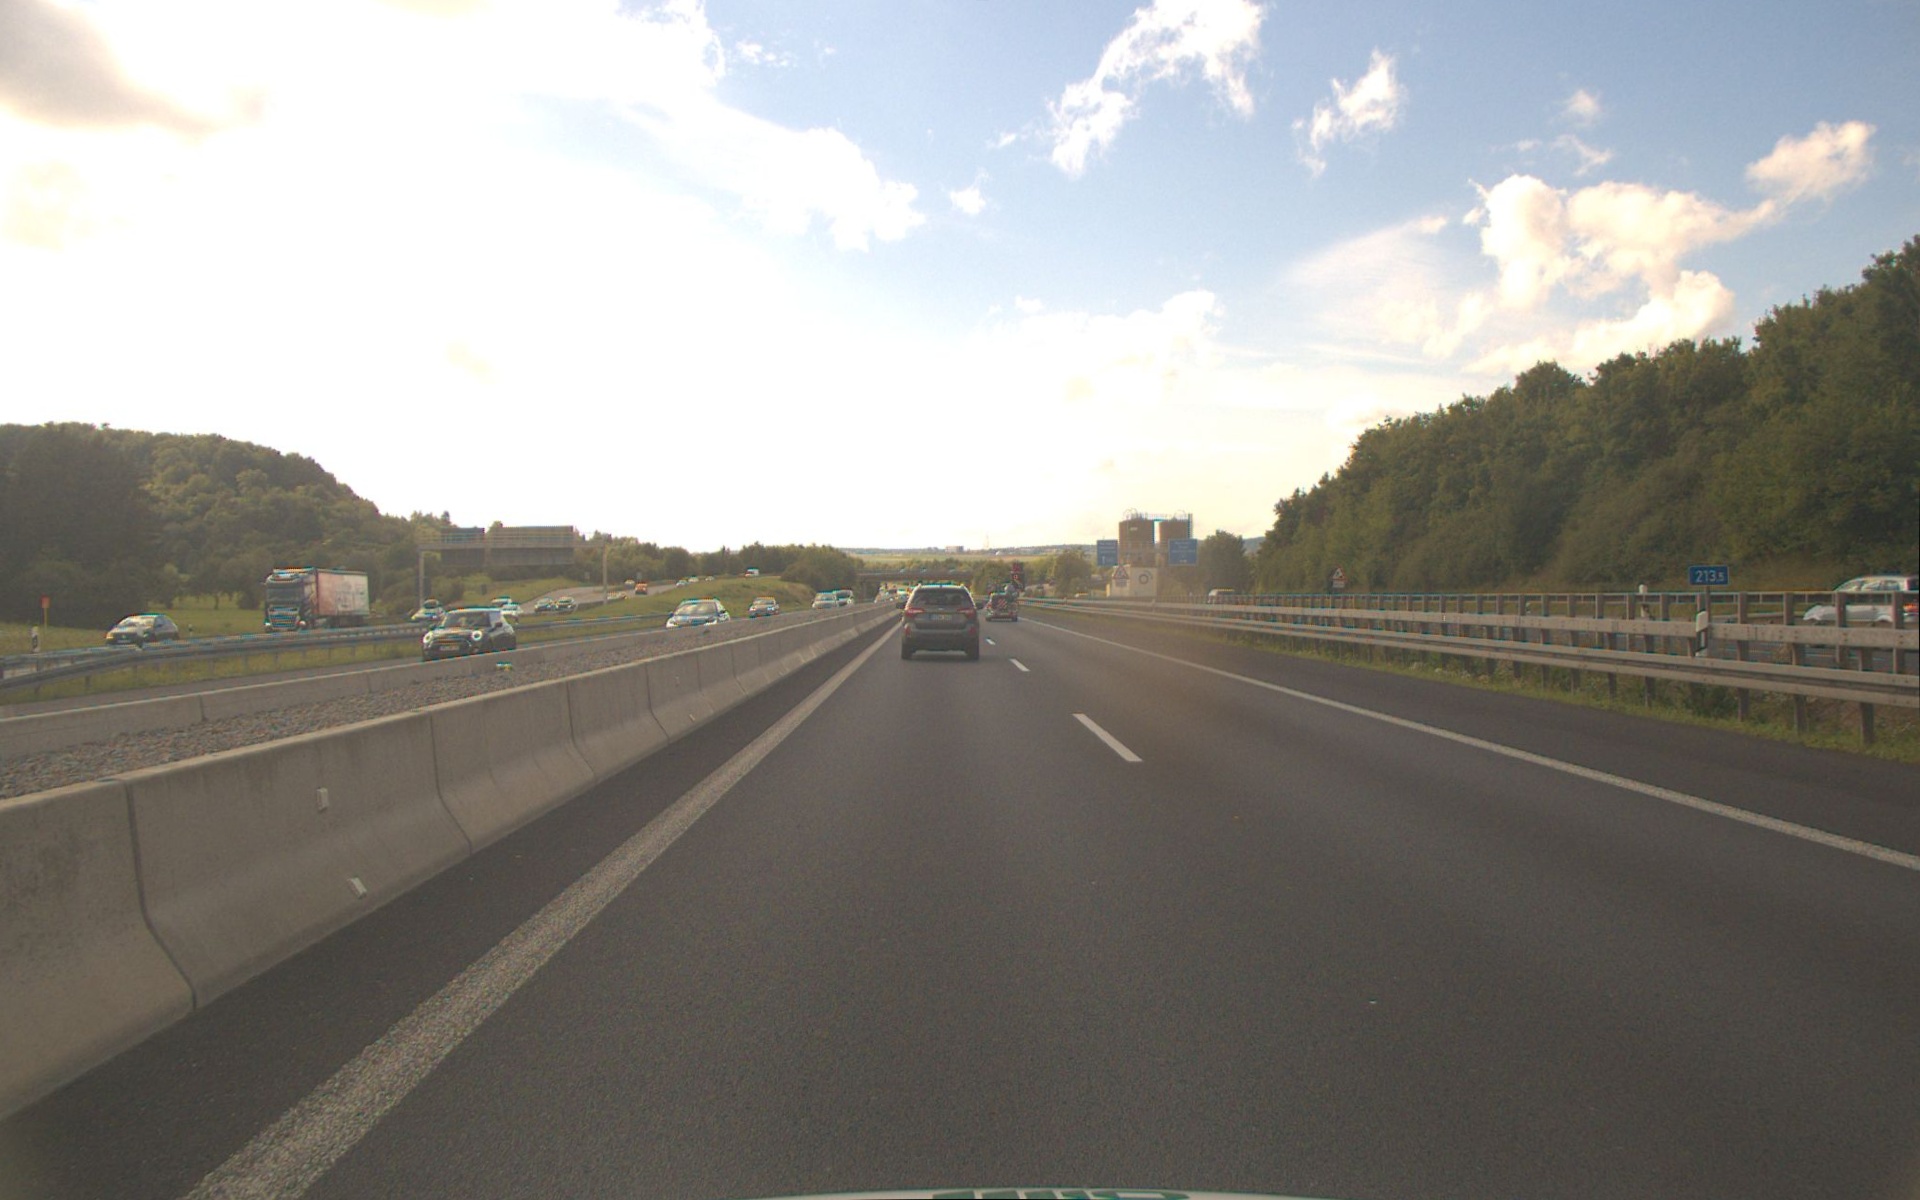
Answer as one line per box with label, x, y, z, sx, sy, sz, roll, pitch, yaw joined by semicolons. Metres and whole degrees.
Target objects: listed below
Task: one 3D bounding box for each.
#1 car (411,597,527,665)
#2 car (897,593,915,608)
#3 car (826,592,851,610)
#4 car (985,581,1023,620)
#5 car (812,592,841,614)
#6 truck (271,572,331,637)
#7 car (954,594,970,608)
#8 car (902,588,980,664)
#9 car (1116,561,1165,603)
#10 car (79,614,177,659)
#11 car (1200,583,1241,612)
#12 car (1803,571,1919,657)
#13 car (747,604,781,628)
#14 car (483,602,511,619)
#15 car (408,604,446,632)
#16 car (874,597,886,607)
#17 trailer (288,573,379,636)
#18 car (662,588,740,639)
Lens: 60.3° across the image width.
car;-12.847;0.782;43.527;1.764;1.646;4.301;-2;0;-1
car;-7.188;0.048;220.080;2.124;1.875;4.000;-2;0;0
car;-11.017;0.107;149.971;1.953;1.559;5.746;-2;0;-1
car;2.519;0.045;95.104;1.953;2.117;3.999;-2;0;-1
car;-10.310;0.222;128.002;1.953;1.559;5.020;-2;0;-1
truck;-40.605;0.272;102.003;1.955;3.827;5.144;-2;0;-5
car;0.218;0.119;211.978;1.935;1.810;4.119;-2;0;-1
car;-0.407;0.585;39.348;1.714;1.659;3.609;-2;0;0
car;16.747;-1.639;153.684;3.504;3.741;7.547;-2;0;-1
car;-33.576;1.444;66.890;1.764;1.646;4.301;-2;0;-1
car;16.798;-0.138;106.848;1.953;1.747;3.999;-2;0;-1
car;20.385;0.269;35.972;1.953;1.738;3.999;-2;0;-1
car;-13.861;1.130;117.222;1.953;1.559;4.506;-2;0;-1
car;-44.199;0.976;157.855;1.738;1.575;4.883;-2;0;-6
car;-39.020;1.326;121.163;1.738;1.930;4.393;-2;0;-6
car;-12.459;0.344;257.696;1.608;1.422;3.740;-2;0;-1
trailer;-41.241;0.308;109.347;1.955;3.802;13.231;-2;0;-5
car;-9.045;0.460;58.168;1.888;1.646;5.417;-2;0;-1
